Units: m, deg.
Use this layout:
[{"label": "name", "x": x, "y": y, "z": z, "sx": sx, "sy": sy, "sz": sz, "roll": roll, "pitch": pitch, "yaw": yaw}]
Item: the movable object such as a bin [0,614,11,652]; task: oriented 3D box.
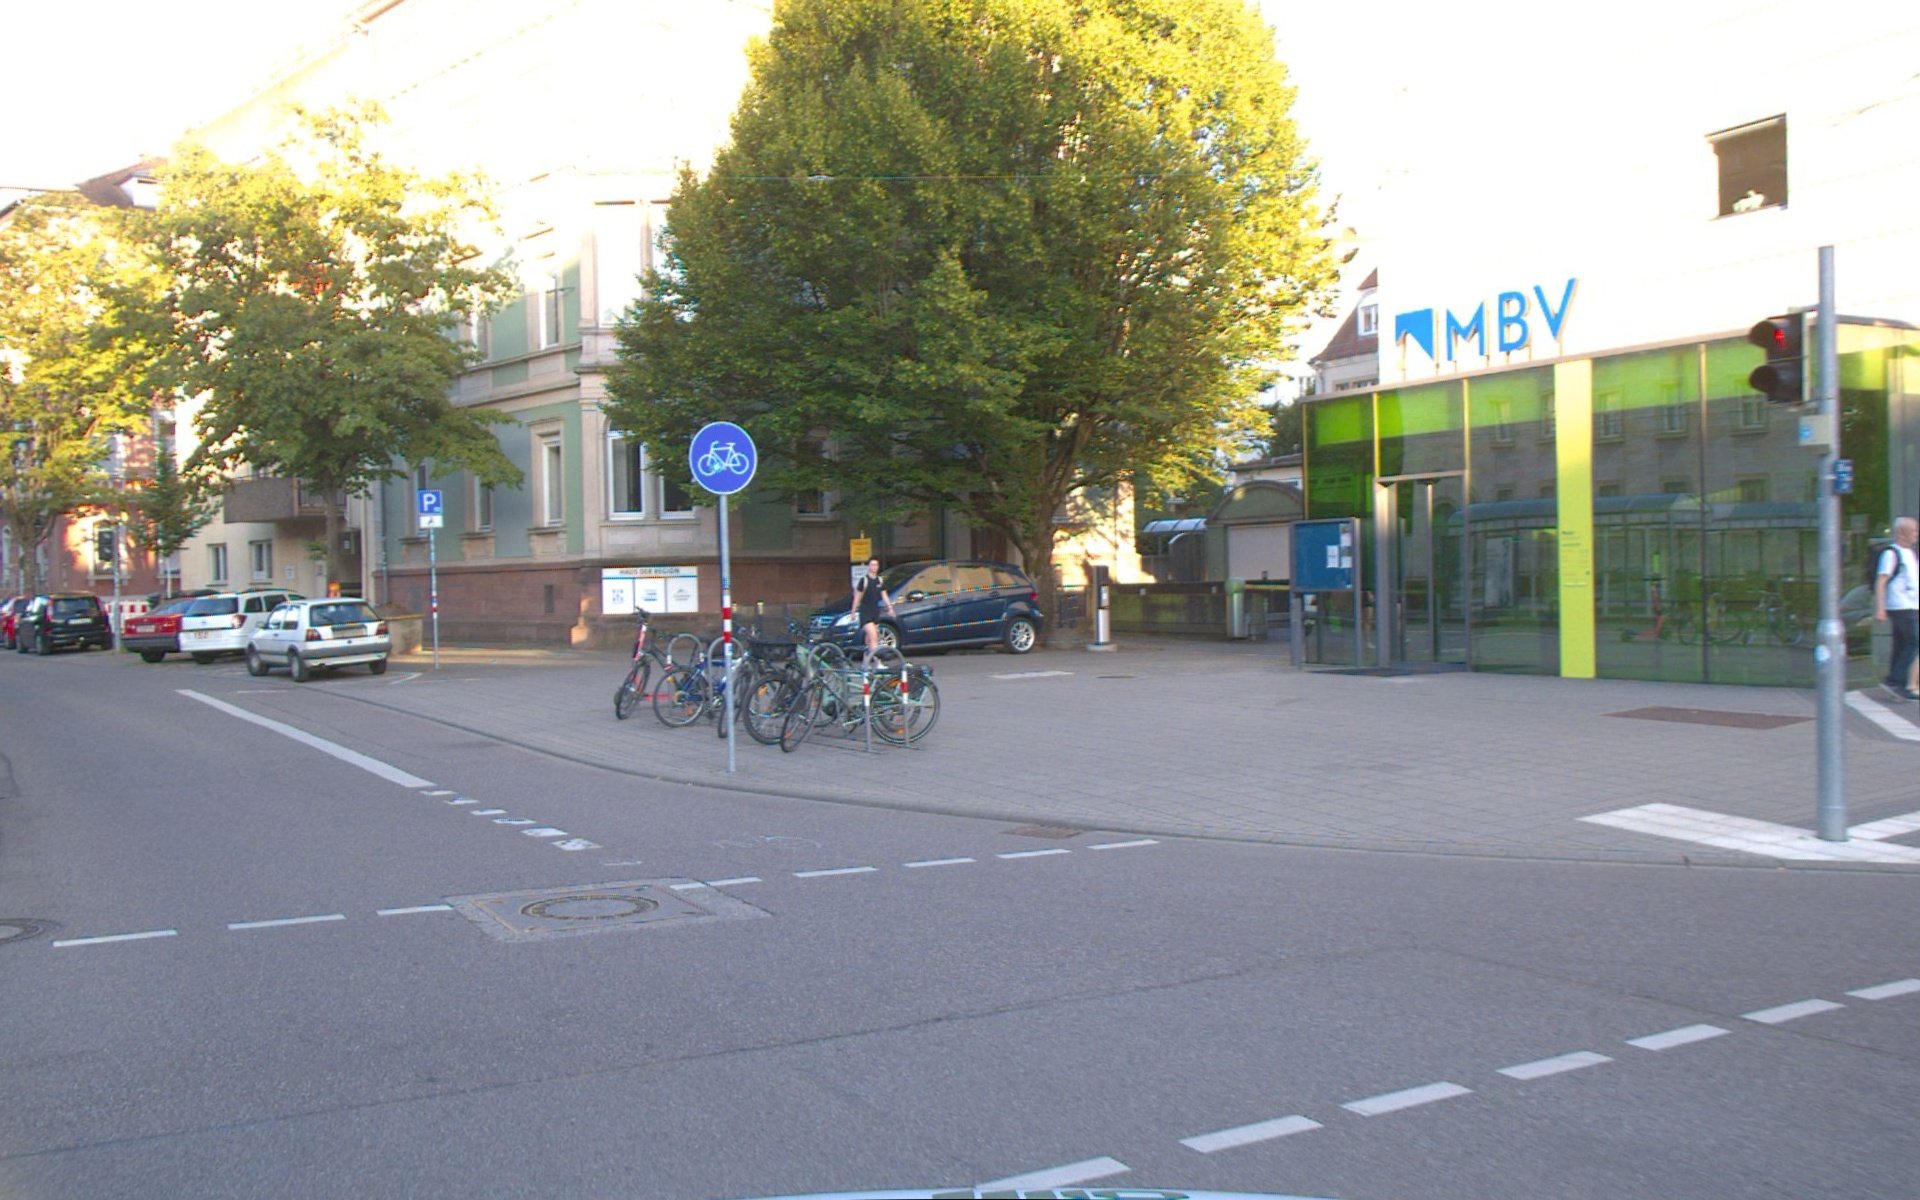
[{"label": "movable object such as a bin", "x": -30.749, "y": 1.055, "z": 52.878, "sx": 0.705, "sy": 1.174, "sz": 0.582, "roll": -1, "pitch": 0, "yaw": -32}]

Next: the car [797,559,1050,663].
[{"label": "car", "x": -0.596, "y": 0.135, "z": 28.090, "sx": 3.945, "sy": 1.601, "sz": 1.784, "roll": -2, "pitch": 2, "yaw": -32}]

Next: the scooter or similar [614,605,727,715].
[{"label": "scooter or similar", "x": -3.559, "y": 0.716, "z": 20.339, "sx": 1.188, "sy": 1.246, "sz": 0.585, "roll": -4, "pitch": 2, "yaw": -31}]

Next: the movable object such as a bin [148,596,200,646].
[{"label": "movable object such as a bin", "x": -24.572, "y": 0.641, "z": 51.674, "sx": 1.296, "sy": 1.528, "sz": 1.068, "roll": -1, "pitch": 0, "yaw": 44}]

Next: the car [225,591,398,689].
[{"label": "car", "x": -12.122, "y": 0.711, "z": 30.790, "sx": 1.672, "sy": 1.579, "sz": 3.939, "roll": -6, "pitch": 3, "yaw": -41}]

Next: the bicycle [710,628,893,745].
[{"label": "bicycle", "x": -1.632, "y": 0.866, "z": 17.107, "sx": 1.736, "sy": 1.093, "sz": 0.737, "roll": -2, "pitch": 1, "yaw": -30}]

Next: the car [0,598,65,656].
[{"label": "car", "x": -27.907, "y": 0.777, "z": 49.182, "sx": 1.555, "sy": 1.562, "sz": 3.641, "roll": -4, "pitch": 2, "yaw": -39}]

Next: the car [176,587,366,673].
[{"label": "car", "x": -15.195, "y": 0.615, "z": 36.740, "sx": 1.680, "sy": 1.755, "sz": 4.213, "roll": 0, "pitch": 1, "yaw": 15}]

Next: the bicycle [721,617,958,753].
[{"label": "bicycle", "x": -1.172, "y": 0.800, "z": 16.293, "sx": 2.206, "sy": 1.152, "sz": 0.737, "roll": -3, "pitch": 1, "yaw": -30}]

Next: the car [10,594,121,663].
[{"label": "car", "x": -24.144, "y": 0.745, "z": 44.595, "sx": 1.734, "sy": 1.660, "sz": 4.027, "roll": -4, "pitch": 2, "yaw": -41}]

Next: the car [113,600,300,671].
[{"label": "car", "x": -17.370, "y": 0.791, "z": 38.359, "sx": 1.605, "sy": 1.479, "sz": 4.213, "roll": -1, "pitch": 1, "yaw": 15}]

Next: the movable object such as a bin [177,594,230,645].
[{"label": "movable object such as a bin", "x": -23.287, "y": 0.595, "z": 50.907, "sx": 1.136, "sy": 1.528, "sz": 1.249, "roll": -1, "pitch": 0, "yaw": -45}]

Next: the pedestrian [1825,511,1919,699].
[{"label": "pedestrian", "x": 9.107, "y": 0.035, "z": 16.325, "sx": 0.699, "sy": 1.798, "sz": 0.728, "roll": -1, "pitch": 0, "yaw": -30}]

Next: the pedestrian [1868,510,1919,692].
[{"label": "pedestrian", "x": 9.730, "y": 0.003, "z": 16.676, "sx": 0.699, "sy": 1.798, "sz": 0.739, "roll": -1, "pitch": 0, "yaw": -30}]

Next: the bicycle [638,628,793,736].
[{"label": "bicycle", "x": -2.704, "y": 0.884, "z": 18.339, "sx": 1.534, "sy": 1.093, "sz": 0.737, "roll": -2, "pitch": 1, "yaw": -30}]

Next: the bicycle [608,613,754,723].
[{"label": "bicycle", "x": -3.236, "y": 0.766, "z": 19.207, "sx": 1.509, "sy": 1.183, "sz": 0.737, "roll": -2, "pitch": 1, "yaw": -30}]

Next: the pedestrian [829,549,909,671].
[{"label": "pedestrian", "x": -1.366, "y": 0.144, "z": 24.850, "sx": 0.972, "sy": 1.798, "sz": 0.704, "roll": -1, "pitch": 1, "yaw": 44}]

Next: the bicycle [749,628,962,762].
[{"label": "bicycle", "x": -0.970, "y": 0.851, "z": 15.221, "sx": 1.828, "sy": 1.093, "sz": 0.741, "roll": -2, "pitch": 1, "yaw": -14}]
